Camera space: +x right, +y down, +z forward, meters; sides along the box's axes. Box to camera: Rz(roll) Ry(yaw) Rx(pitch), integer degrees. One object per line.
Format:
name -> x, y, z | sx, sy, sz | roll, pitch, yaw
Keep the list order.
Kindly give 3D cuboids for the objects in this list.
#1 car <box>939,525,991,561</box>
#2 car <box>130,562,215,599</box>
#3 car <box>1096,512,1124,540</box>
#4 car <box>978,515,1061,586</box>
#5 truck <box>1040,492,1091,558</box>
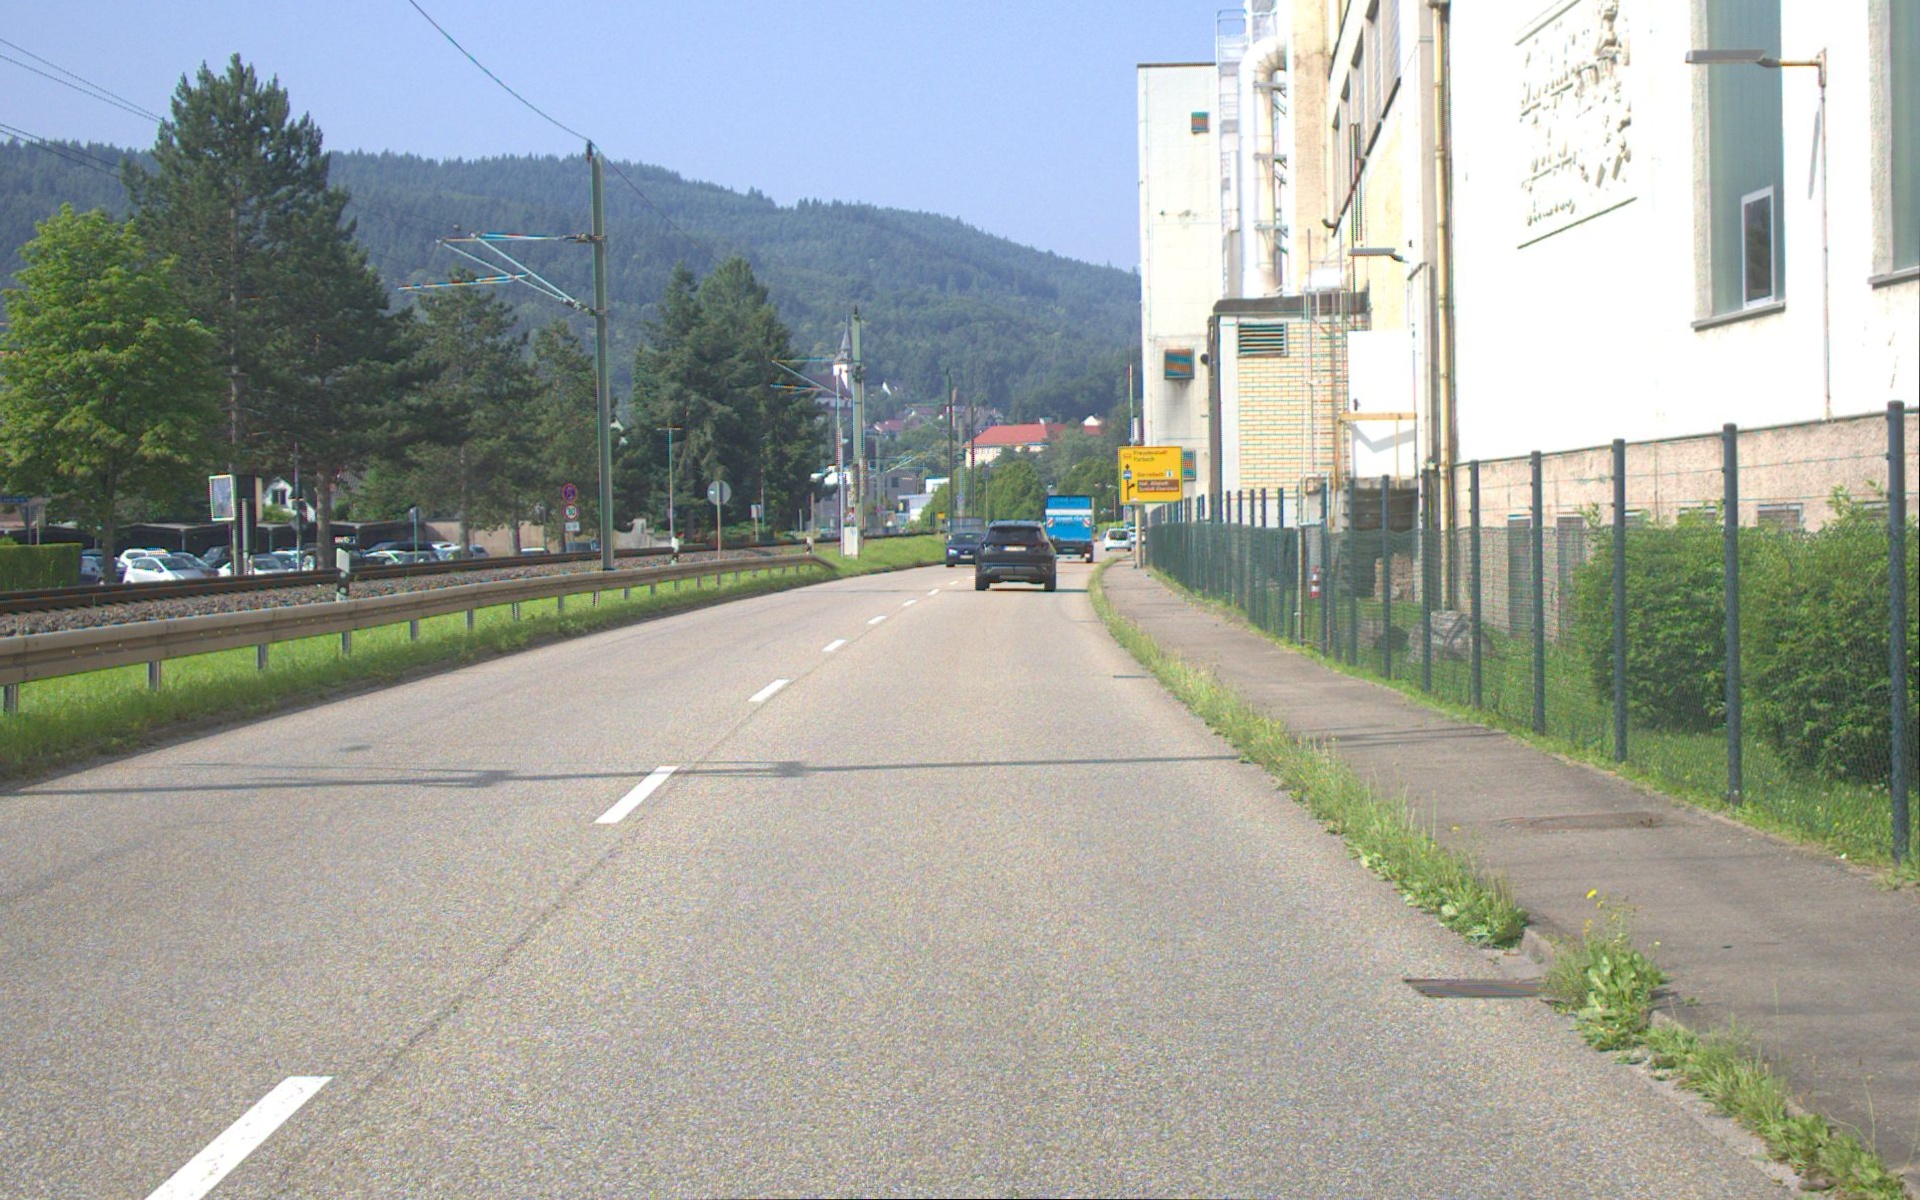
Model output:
car -> 0.215, -2.306, 137.972 | 1.764, 1.398, 4.119 | 0, 1, 4
car -> -31.125, -0.760, 135.824 | 1.683, 1.438, 3.851 | -2, 1, -40
car -> 9.787, -4.831, 223.813 | 1.667, 1.816, 3.751 | 0, 1, 5
car -> 1.392, -1.193, 81.616 | 1.919, 1.634, 4.000 | 0, 1, 0
truck -> 4.826, -3.434, 157.706 | 2.312, 2.960, 5.966 | 0, 1, 1
